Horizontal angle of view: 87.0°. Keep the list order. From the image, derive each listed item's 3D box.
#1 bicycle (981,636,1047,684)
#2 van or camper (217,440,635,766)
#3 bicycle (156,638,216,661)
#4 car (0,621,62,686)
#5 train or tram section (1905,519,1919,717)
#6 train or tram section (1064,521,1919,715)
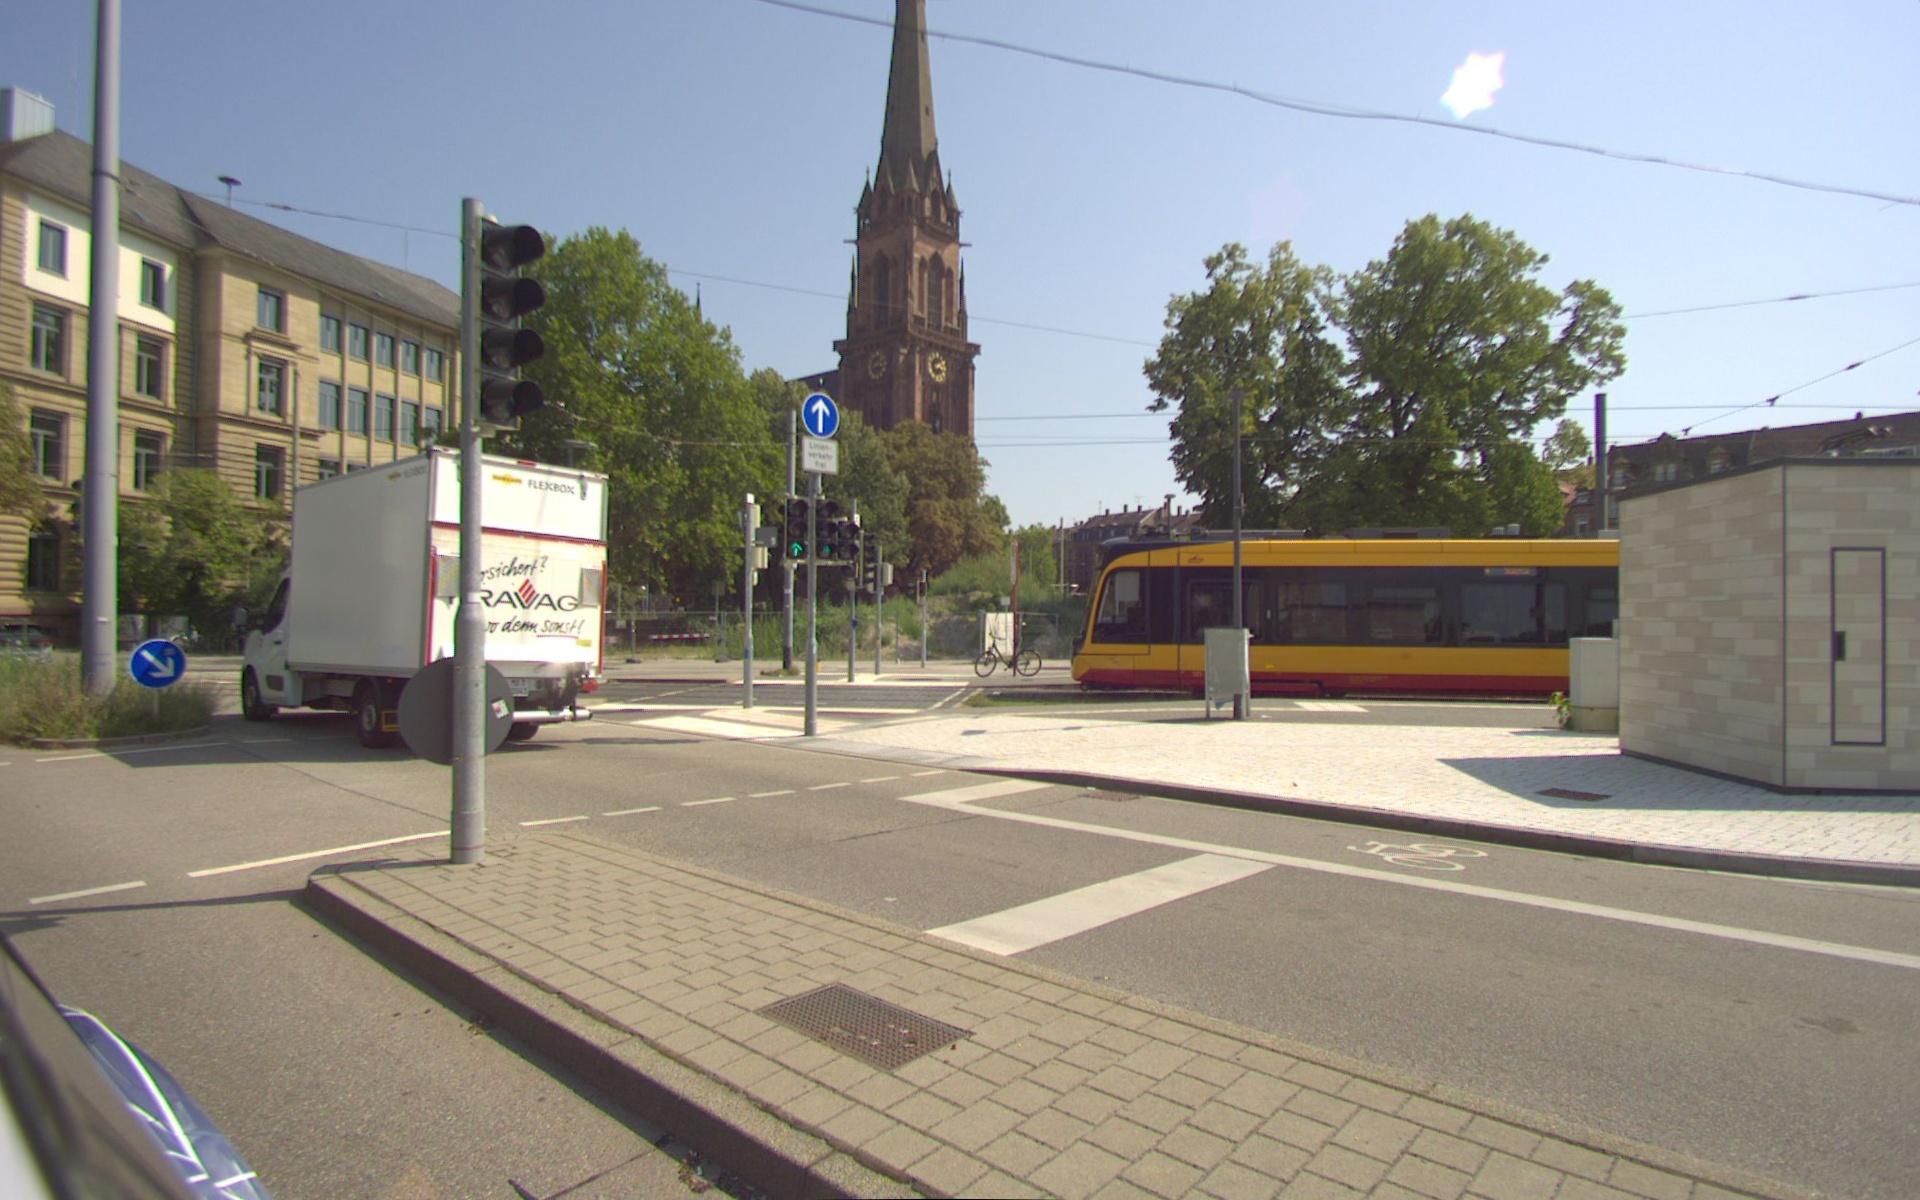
[{"bbox_3d":[1.426,1.565,26.732,1.687,1.232,0.607,0,-2,12],"label":"bicycle"},{"bbox_3d":[-7.432,0.115,13.561,7.184,3.331,2.376,-1,-2,40],"label":"van or camper"},{"bbox_3d":[-31.969,2.045,41.840,0.740,0.901,2.178,0,-2,3],"label":"bicycle"},{"bbox_3d":[-24.476,1.298,25.172,4.159,1.542,1.687,-1,-2,25],"label":"car"},{"bbox_3d":[29.030,0.367,18.455,18.915,4.099,2.889,0,-1,8],"label":"train or tram section"},{"bbox_3d":[10.963,0.342,20.911,17.529,3.575,2.859,0,-1,7],"label":"train or tram section"}]
